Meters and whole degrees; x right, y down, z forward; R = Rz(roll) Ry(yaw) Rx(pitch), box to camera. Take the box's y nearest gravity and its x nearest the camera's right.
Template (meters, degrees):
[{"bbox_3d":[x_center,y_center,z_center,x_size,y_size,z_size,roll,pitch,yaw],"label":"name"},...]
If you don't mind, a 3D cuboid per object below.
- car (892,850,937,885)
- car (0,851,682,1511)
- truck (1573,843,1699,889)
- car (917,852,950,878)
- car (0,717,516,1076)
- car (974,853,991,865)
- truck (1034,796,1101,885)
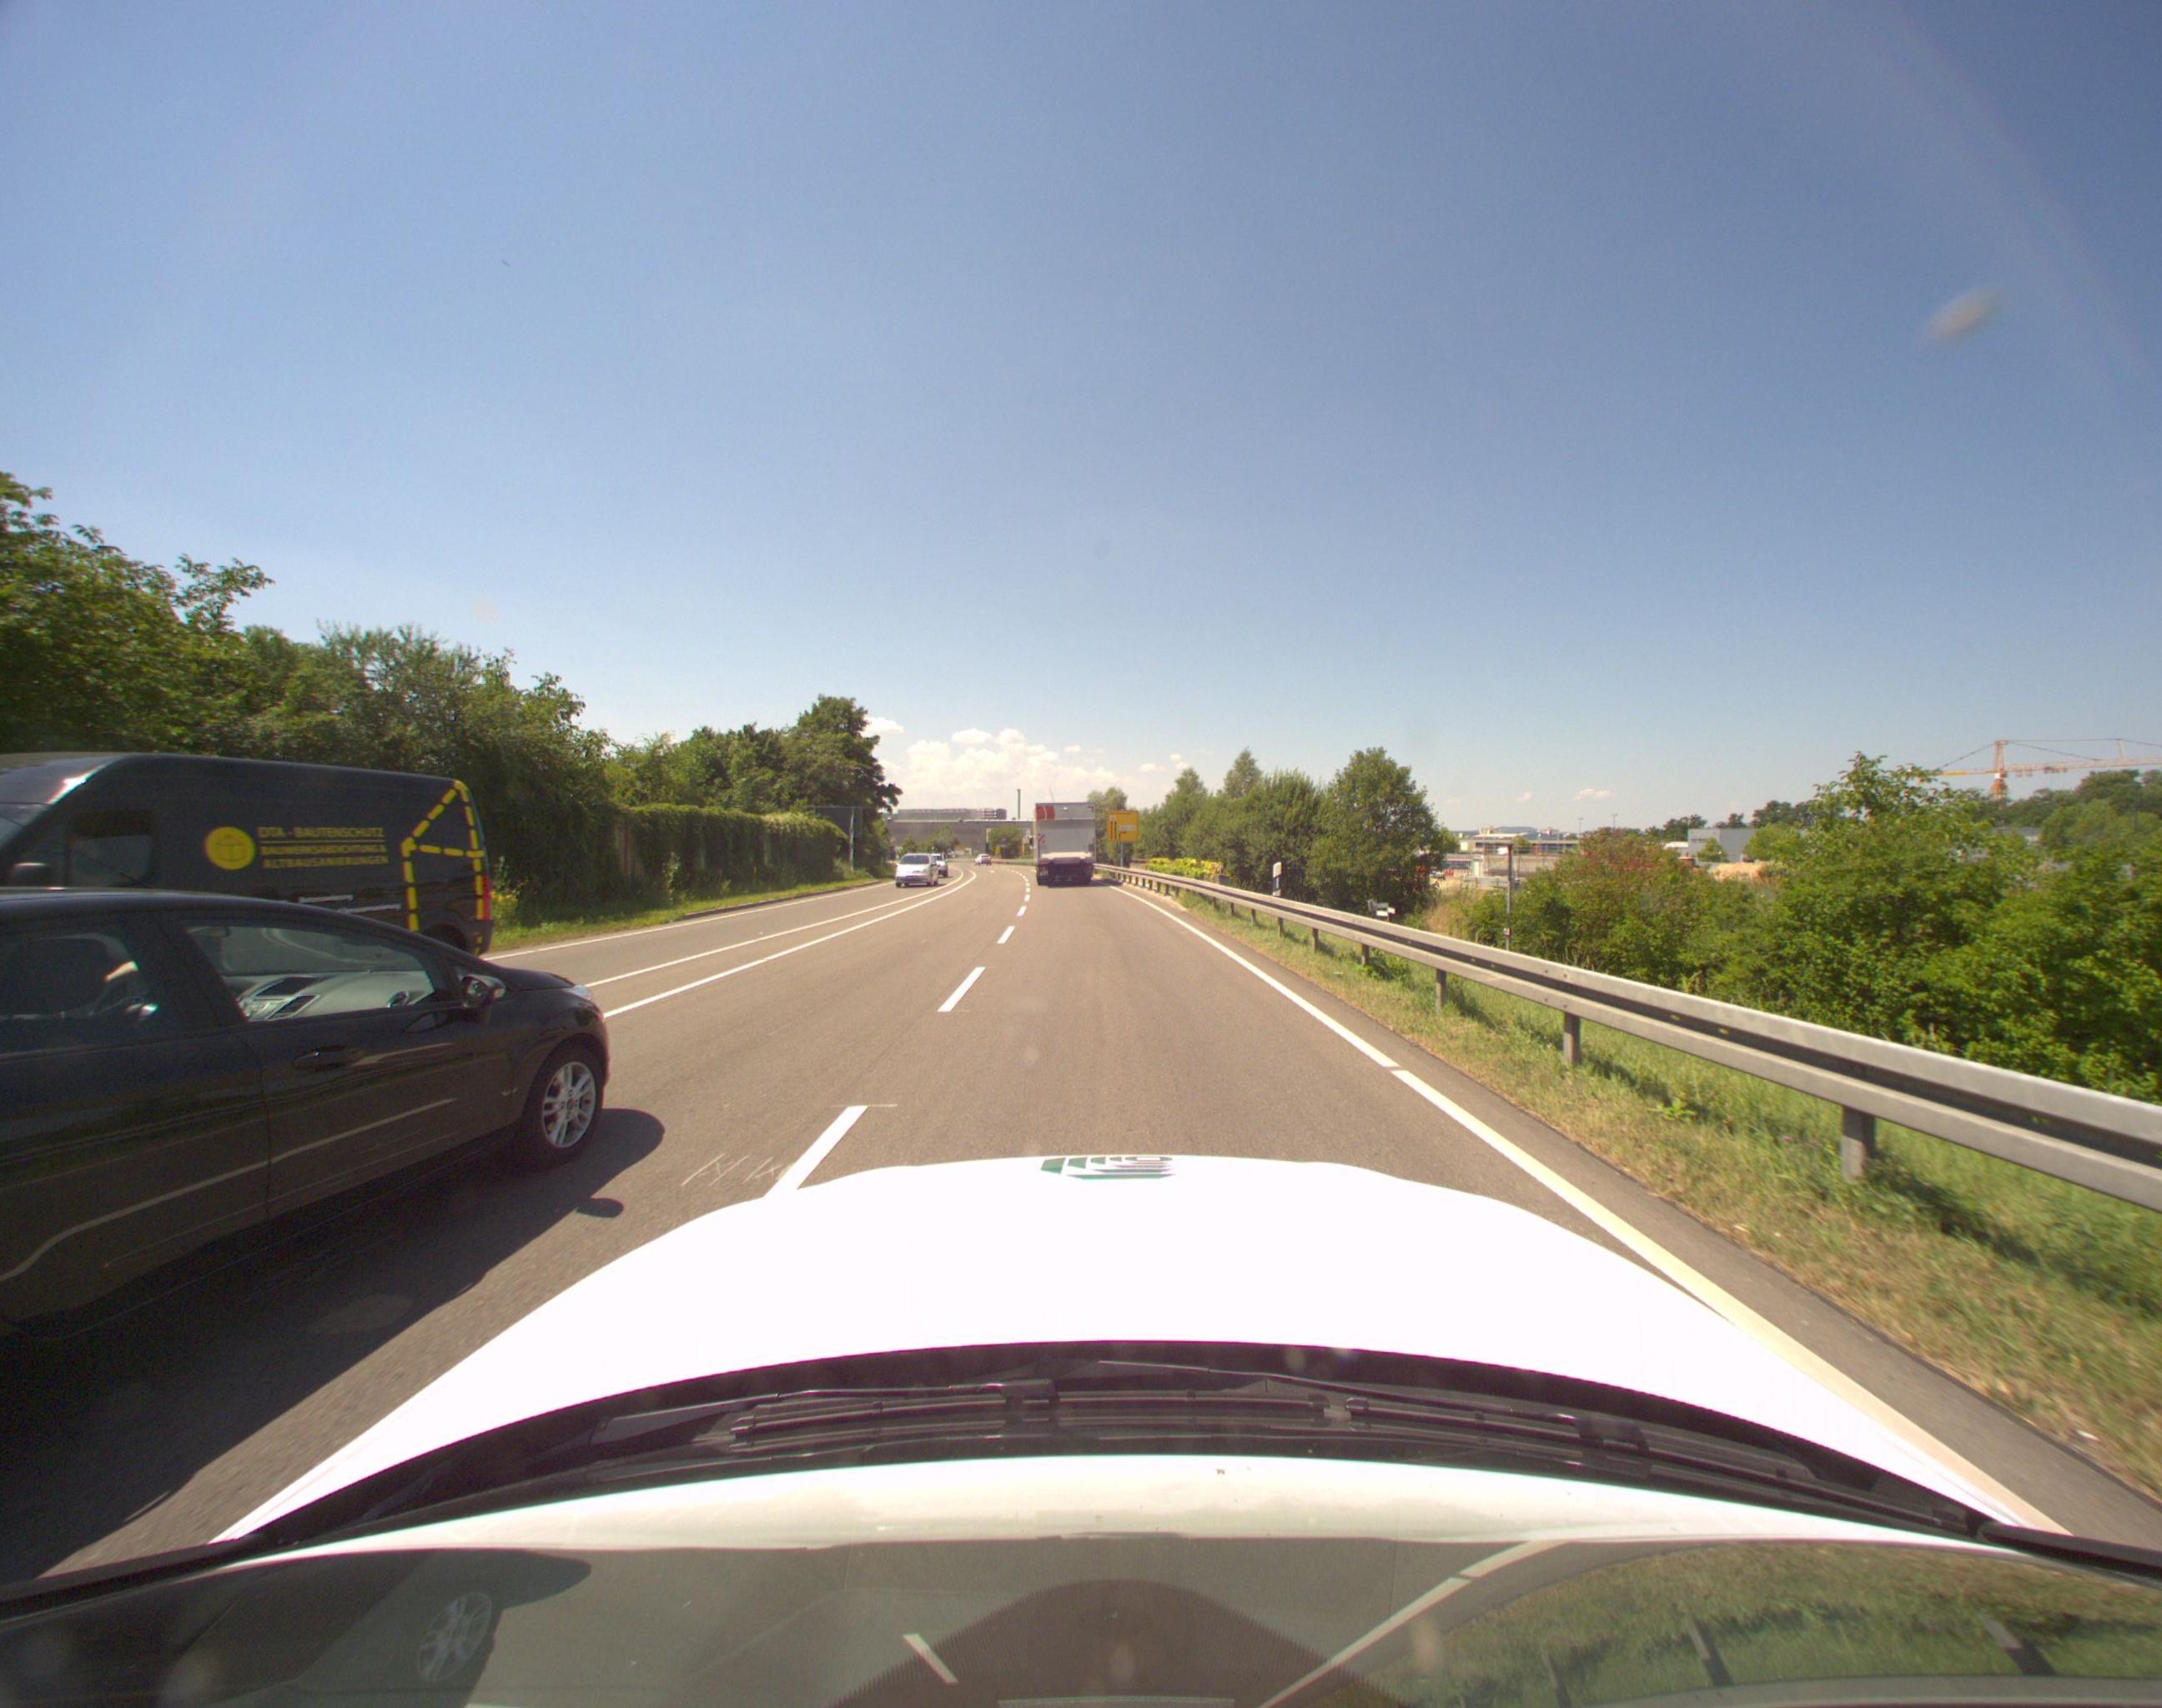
[{"bbox_3d":[-8.027,0.614,39.689,1.836,1.593,4.803,0,0,-8],"label":"car"},{"bbox_3d":[-3.322,0.778,2.813,1.646,1.493,4.210,0,1,2],"label":"car"},{"bbox_3d":[50.477,1.004,74.297,9.298,3.683,3.151,2,2,36],"label":"truck"},{"bbox_3d":[-9.833,0.711,54.539,1.993,1.629,4.183,-2,0,-9],"label":"car"},{"bbox_3d":[-8.663,0.297,7.756,2.179,2.541,6.040,0,0,2],"label":"car"},{"bbox_3d":[-13.545,0.707,112.019,1.945,1.664,3.984,1,-1,-11],"label":"car"},{"bbox_3d":[-0.565,-0.634,38.945,2.794,3.710,9.107,-1,1,0],"label":"truck"}]
